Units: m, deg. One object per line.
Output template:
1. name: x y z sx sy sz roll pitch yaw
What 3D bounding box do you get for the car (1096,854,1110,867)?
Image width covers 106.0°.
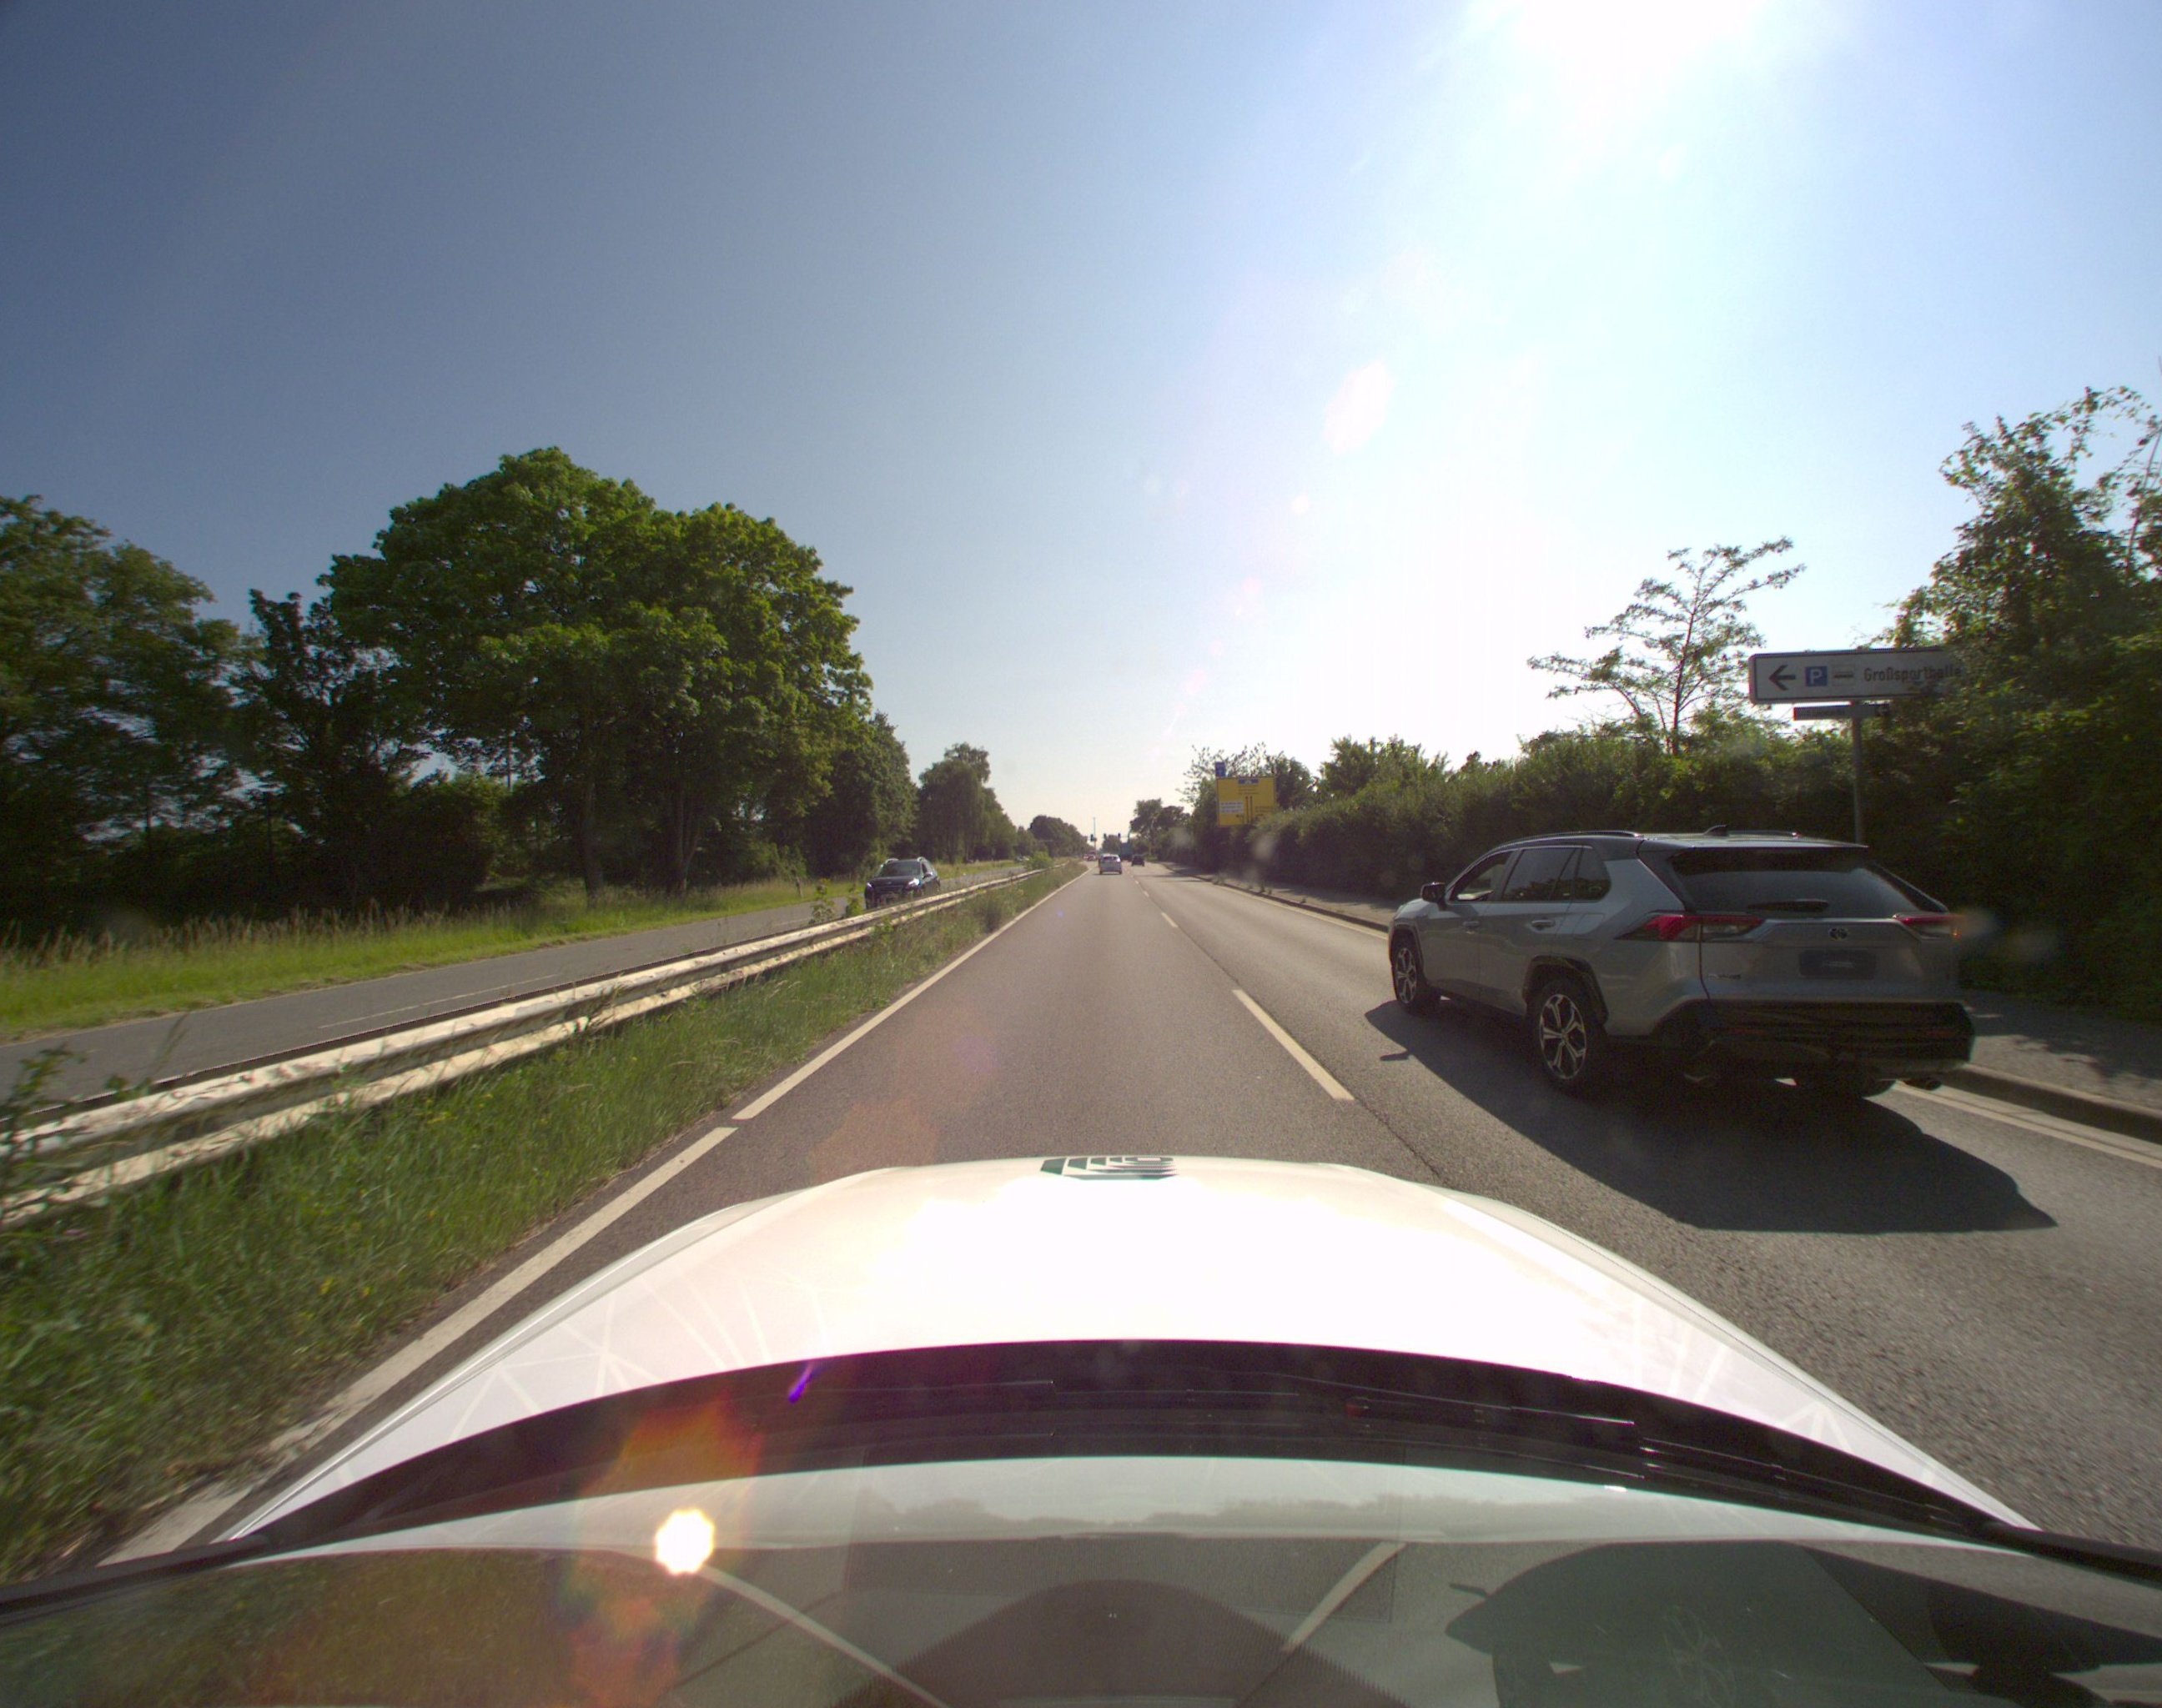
1. car: 2.604 0.729 96.054 1.566 1.414 3.279 -1 0 2

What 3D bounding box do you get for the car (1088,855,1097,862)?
1. car: 2.602 0.996 186.374 1.804 1.464 4.975 -1 0 4

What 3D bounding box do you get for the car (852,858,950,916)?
1. car: -5.487 0.946 25.406 1.771 1.530 4.166 -3 0 4

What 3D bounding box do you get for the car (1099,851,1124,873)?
1. car: 2.326 0.586 61.720 1.791 1.552 4.003 -1 0 2

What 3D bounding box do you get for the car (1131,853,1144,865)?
1. car: 7.080 0.604 102.316 1.566 1.414 3.279 -1 -1 2

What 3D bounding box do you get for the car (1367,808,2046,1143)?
1. car: 3.986 0.611 6.467 1.895 1.680 4.685 -1 0 1

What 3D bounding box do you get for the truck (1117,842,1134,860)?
1. truck: 8.816 -0.559 161.829 2.881 3.428 9.173 -2 0 2

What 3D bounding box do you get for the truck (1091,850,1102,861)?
1. truck: 3.719 0.330 193.529 2.363 2.388 6.047 -1 2 4

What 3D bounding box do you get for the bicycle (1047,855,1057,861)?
1. bicycle: -8.387 1.089 237.700 2.765 1.670 1.143 -2 0 29
